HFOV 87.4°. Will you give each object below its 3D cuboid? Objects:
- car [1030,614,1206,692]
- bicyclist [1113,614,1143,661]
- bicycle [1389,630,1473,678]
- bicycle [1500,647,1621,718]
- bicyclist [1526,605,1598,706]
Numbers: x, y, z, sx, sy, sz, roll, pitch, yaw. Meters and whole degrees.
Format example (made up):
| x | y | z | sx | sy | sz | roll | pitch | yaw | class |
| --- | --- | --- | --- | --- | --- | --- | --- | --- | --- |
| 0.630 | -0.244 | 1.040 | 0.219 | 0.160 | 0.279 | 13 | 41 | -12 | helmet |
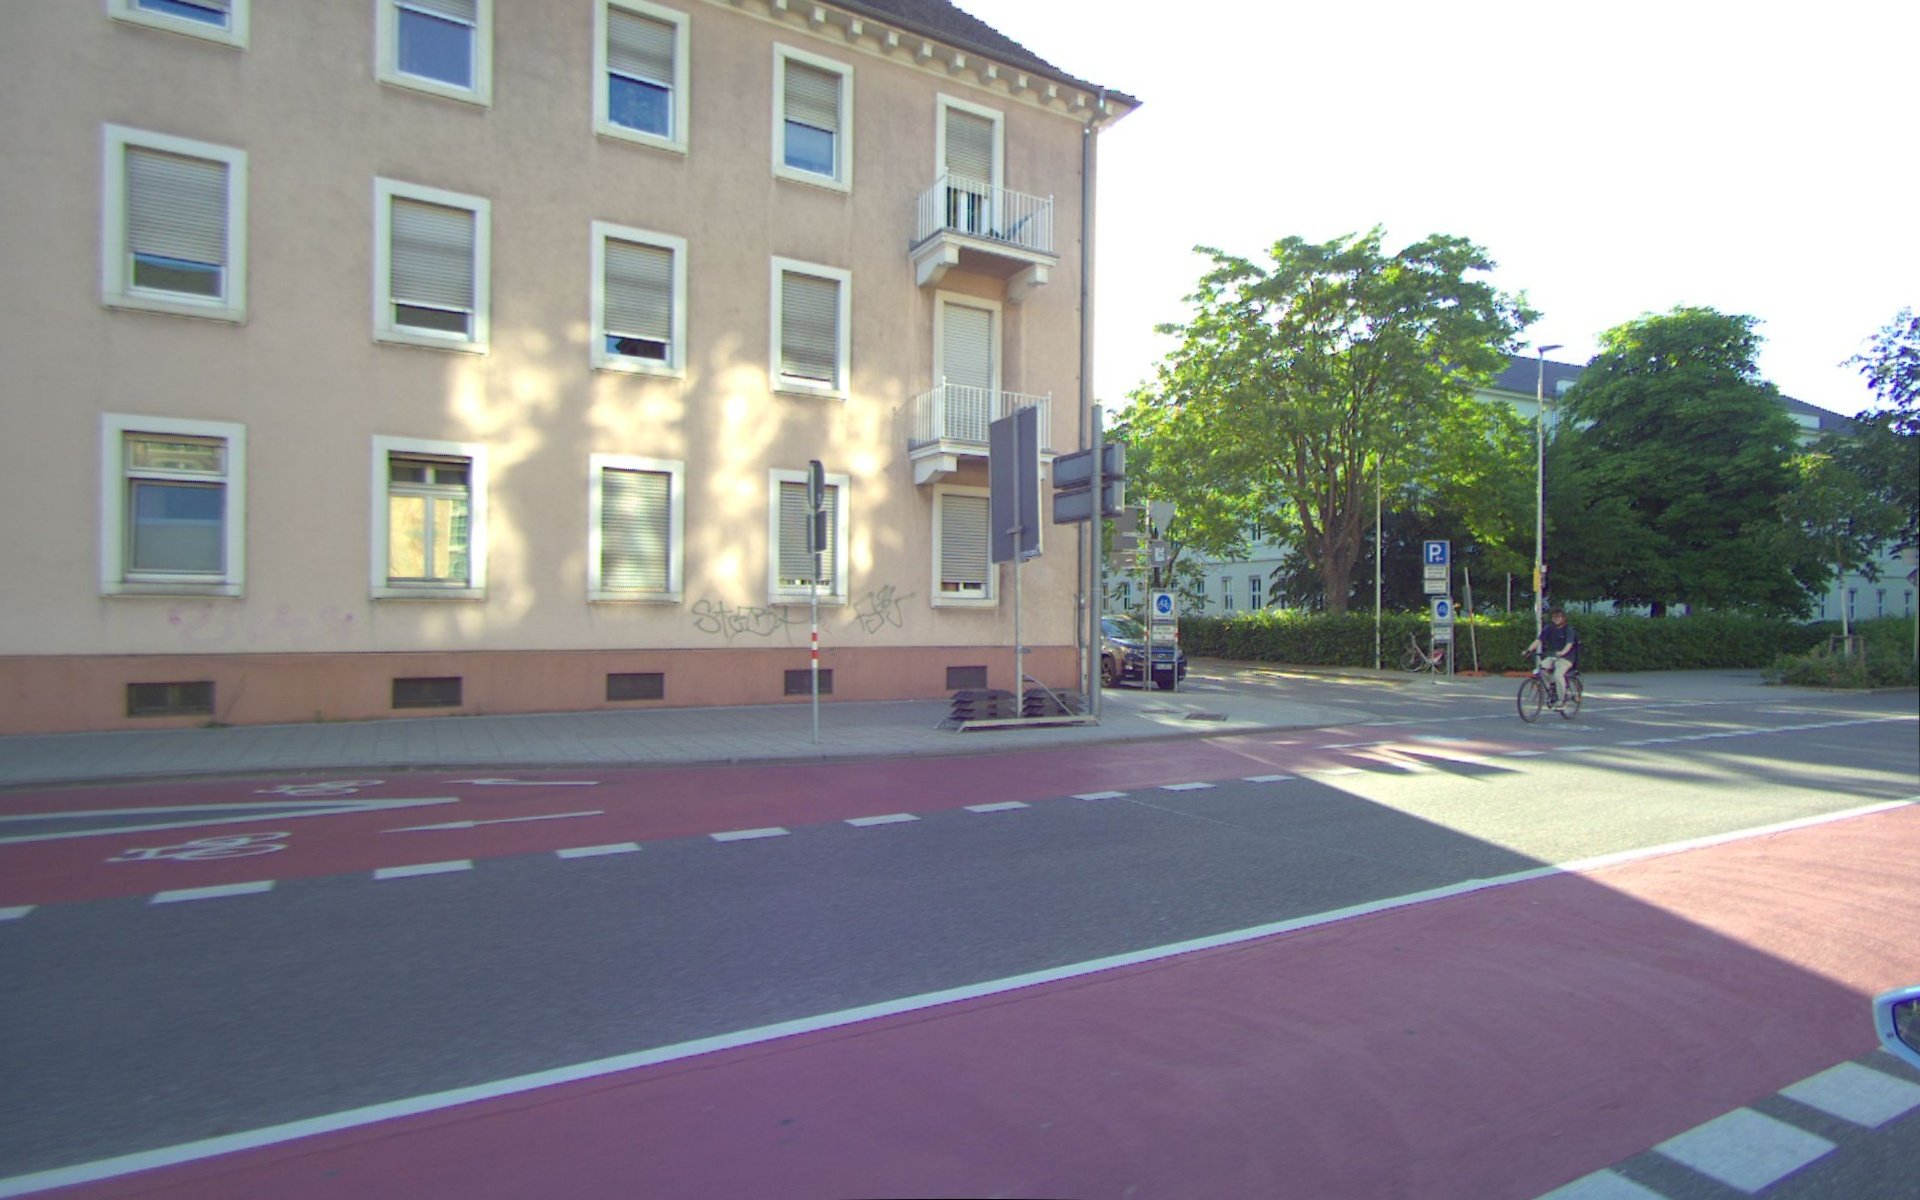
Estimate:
| x | y | z | sx | sy | sz | roll | pitch | yaw | class |
| --- | --- | --- | --- | --- | --- | --- | --- | --- | --- |
| 3.695 | 1.195 | 24.421 | 2.033 | 1.700 | 4.561 | 1 | -1 | -25 | car |
| 5.446 | 1.221 | 32.598 | 0.733 | 1.505 | 0.658 | 1 | -3 | -39 | bicyclist |
| 12.995 | 1.458 | 27.789 | 0.552 | 1.246 | 2.313 | 1 | -1 | -24 | bicycle |
| 9.199 | 1.227 | 15.376 | 2.084 | 1.009 | 0.648 | 1 | -2 | -30 | bicycle |
| 9.246 | 0.855 | 15.435 | 0.657 | 1.504 | 0.653 | 1 | -3 | -29 | bicyclist |
